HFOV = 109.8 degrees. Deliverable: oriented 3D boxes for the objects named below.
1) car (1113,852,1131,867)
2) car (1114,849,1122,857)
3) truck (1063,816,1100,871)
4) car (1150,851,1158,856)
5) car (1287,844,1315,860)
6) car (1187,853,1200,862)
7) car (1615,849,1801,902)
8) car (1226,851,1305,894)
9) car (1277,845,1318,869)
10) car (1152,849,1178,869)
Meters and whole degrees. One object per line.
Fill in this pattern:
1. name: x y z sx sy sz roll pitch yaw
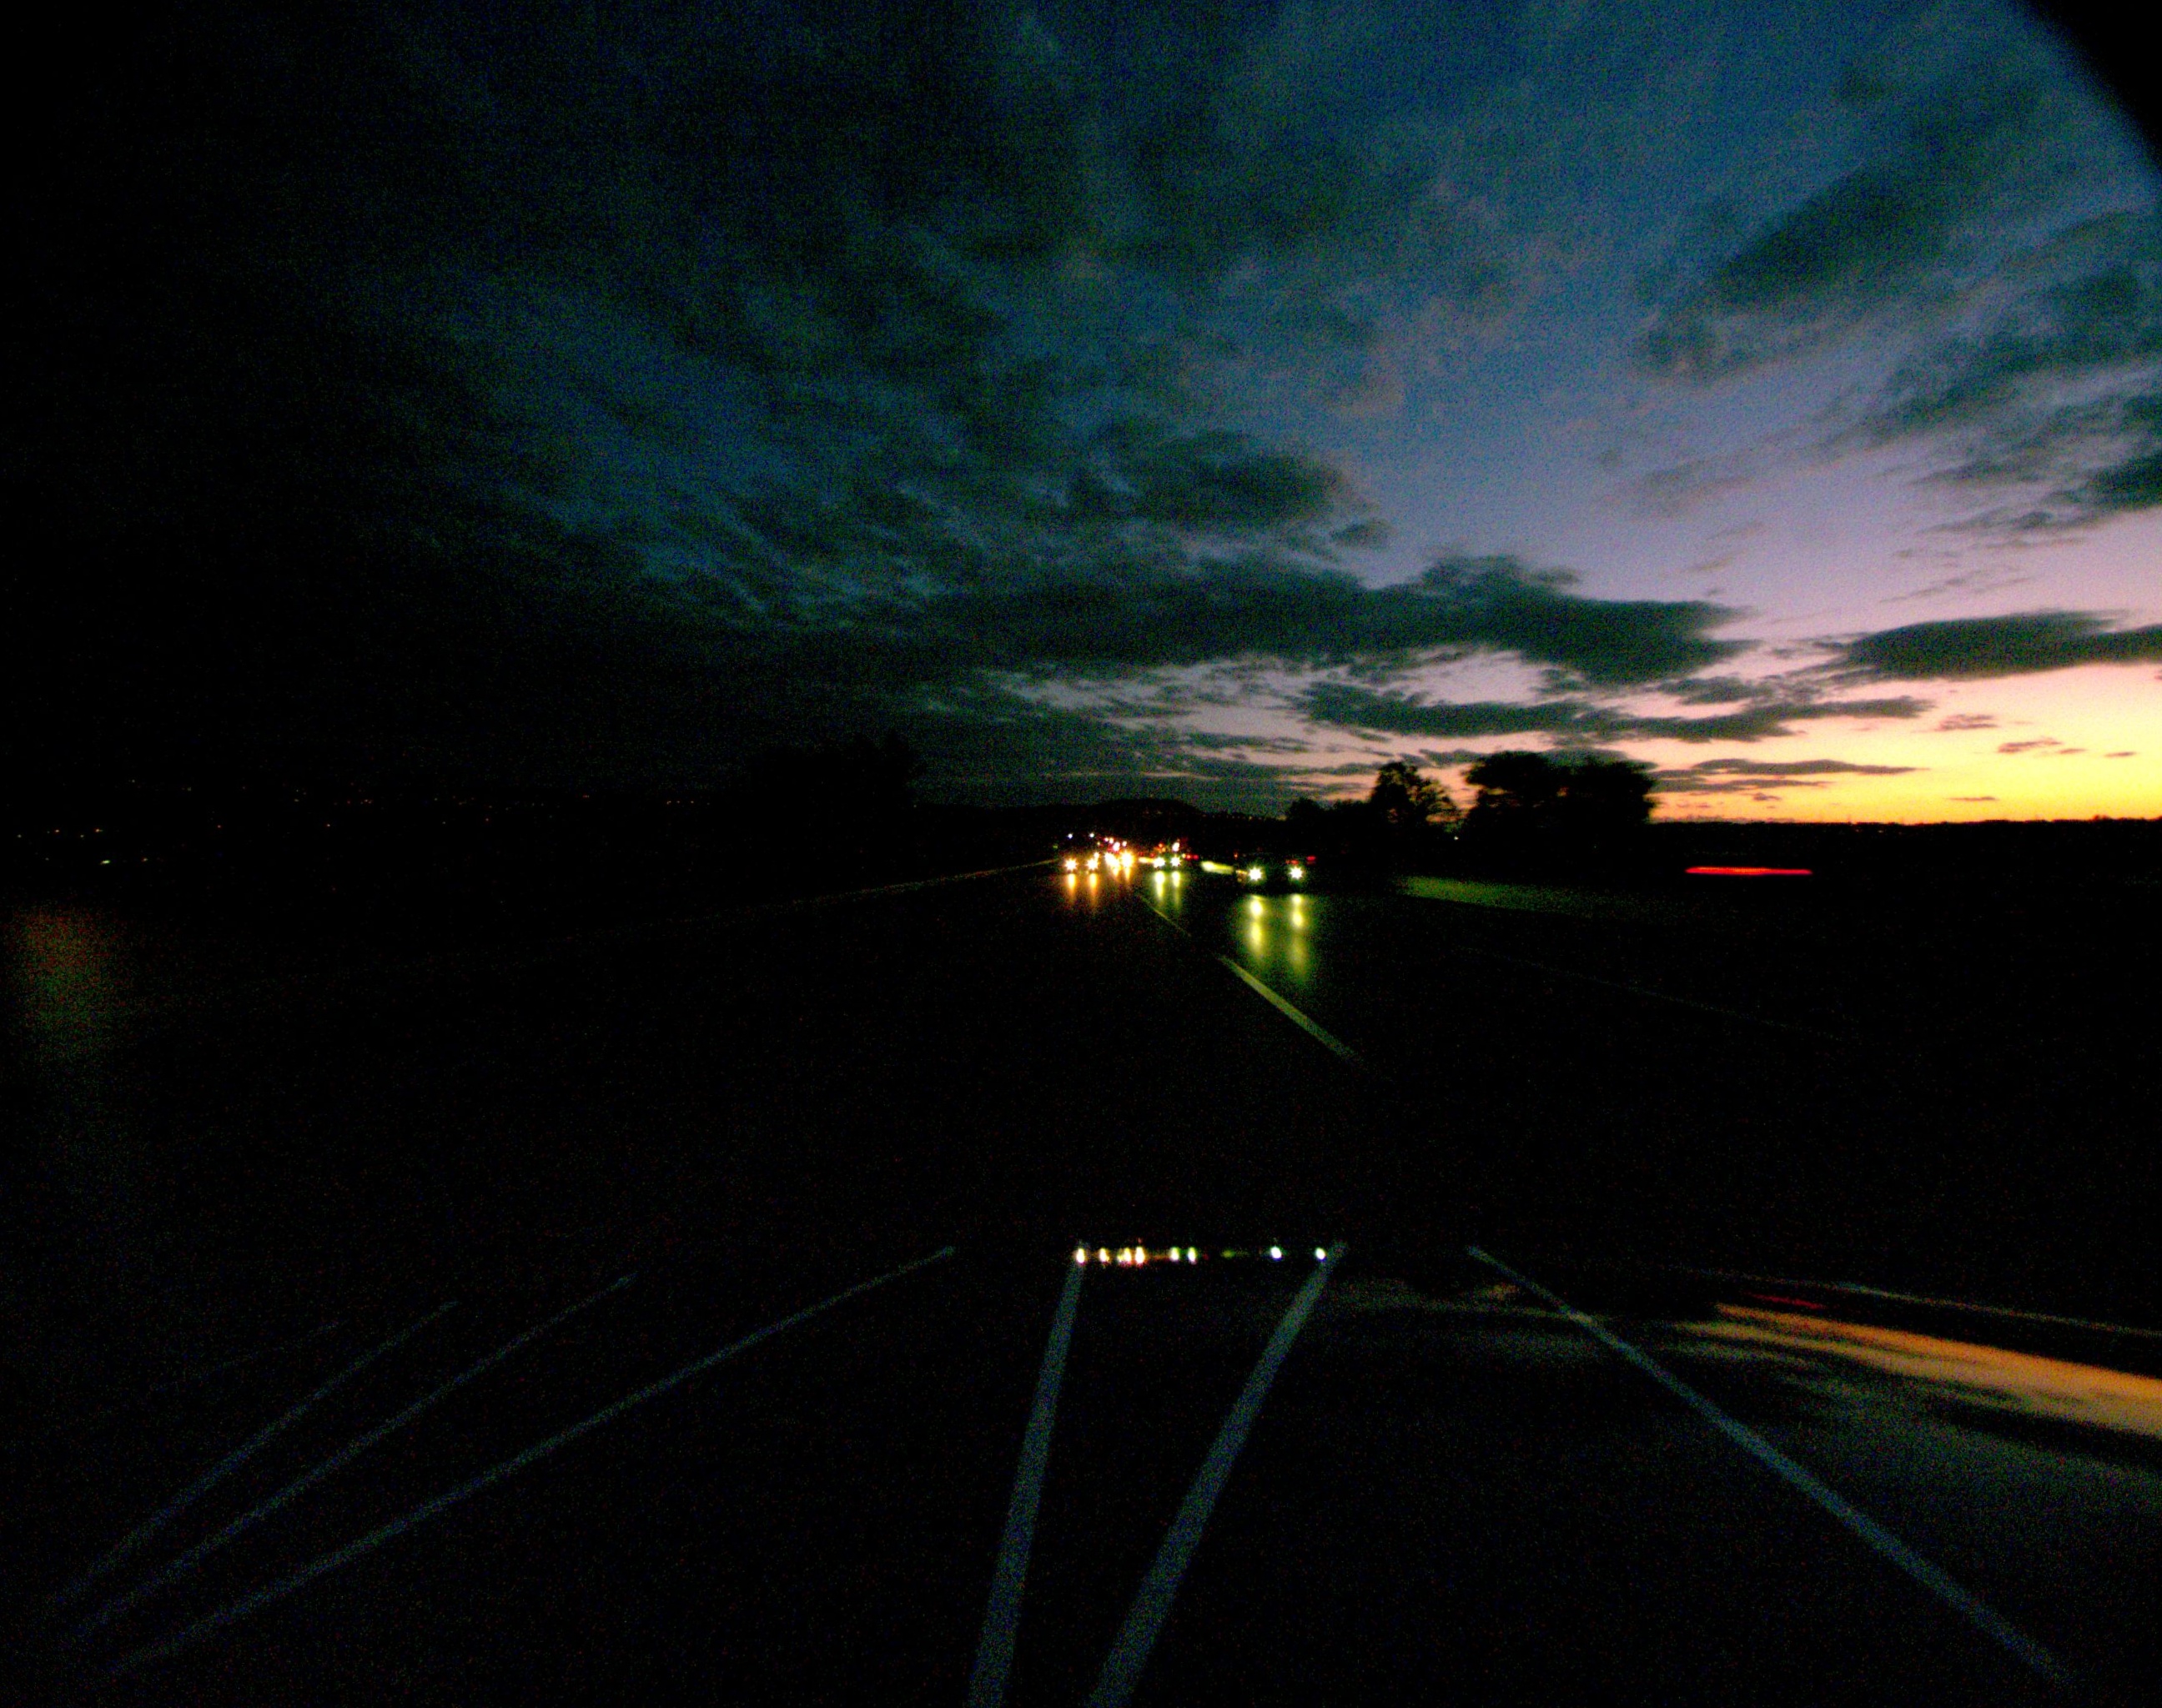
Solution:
1. car: 4.731 0.592 87.756 1.802 1.531 4.158 -2 1 0
2. car: 9.793 -0.305 200.874 1.862 1.826 3.999 -2 1 0
3. truck: 0.072 -0.871 71.702 3.012 4.570 12.577 -2 0 0
4. car: 20.394 -0.220 212.979 1.748 1.354 4.111 -2 1 0
5. car: 23.897 -0.231 82.629 1.664 1.634 4.793 -2 1 1
6. car: 21.027 0.673 142.007 1.864 1.445 4.274 -2 1 0
7. car: 19.390 0.593 23.849 1.998 1.404 4.658 -2 1 1
8. car: 7.197 0.670 30.200 1.819 1.429 5.393 -2 1 0
9. car: 16.283 0.178 57.352 1.703 1.608 4.625 -2 1 1
10. car: 7.665 0.408 69.755 1.819 1.638 4.855 -2 1 0
